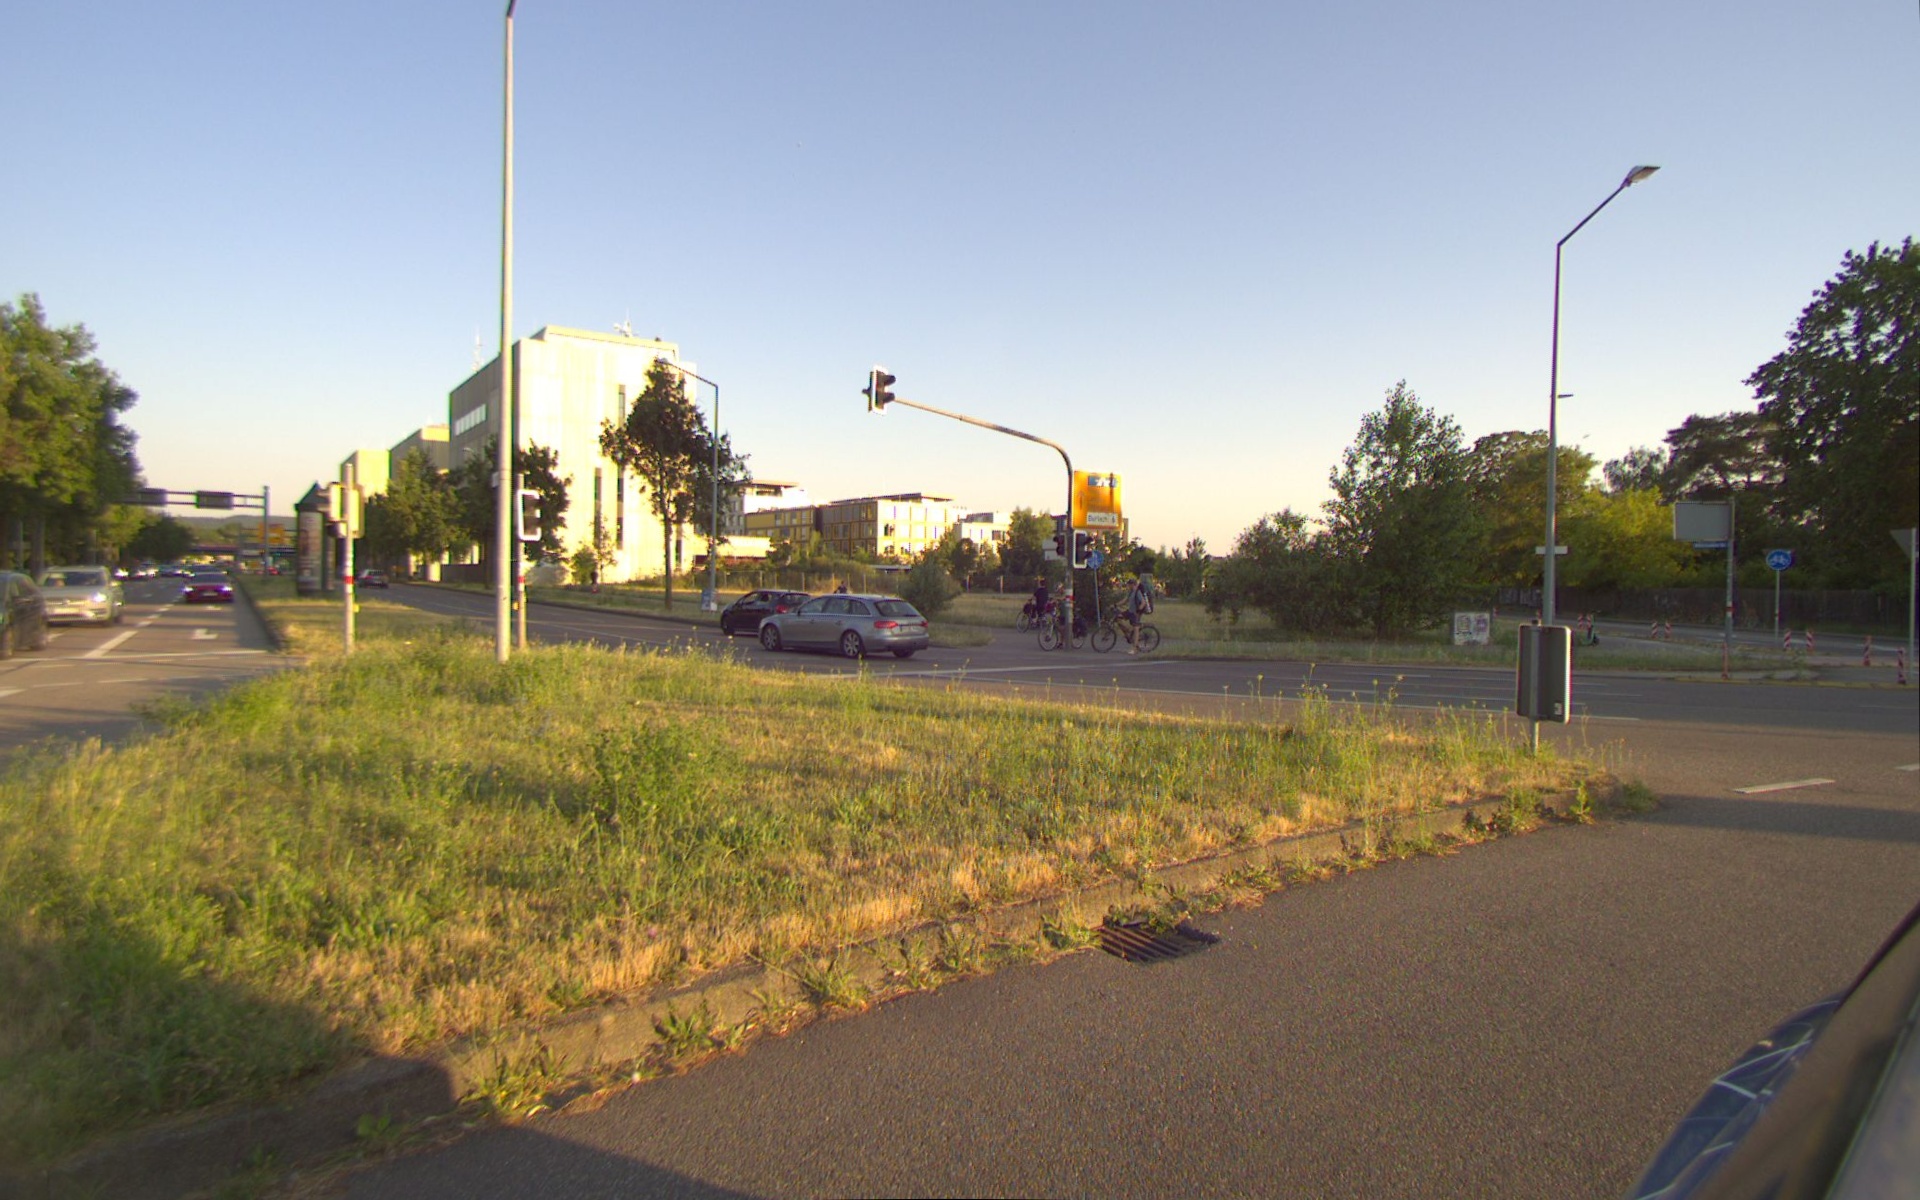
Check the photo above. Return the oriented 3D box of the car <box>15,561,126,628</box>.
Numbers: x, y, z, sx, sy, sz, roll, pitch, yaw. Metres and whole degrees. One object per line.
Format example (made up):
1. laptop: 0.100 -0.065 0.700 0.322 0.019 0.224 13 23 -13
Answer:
1. car: -25.861 -0.208 29.590 1.886 1.776 4.921 -1 1 -35

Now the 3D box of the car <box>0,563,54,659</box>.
1. car: -18.555 0.166 18.889 1.768 1.653 4.458 -1 1 -33

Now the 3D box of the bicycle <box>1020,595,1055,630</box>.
1. bicycle: 2.531 0.398 33.114 0.275 1.102 1.372 1 1 -37

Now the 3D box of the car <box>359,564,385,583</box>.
1. car: -46.076 -2.080 79.342 1.716 1.442 4.140 1 1 -29

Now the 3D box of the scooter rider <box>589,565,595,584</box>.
1. scooter rider: -26.506 -1.822 72.882 0.260 1.356 0.406 1 1 -37

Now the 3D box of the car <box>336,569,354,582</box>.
1. car: -77.702 -3.091 127.902 1.718 1.507 4.136 1 1 -35

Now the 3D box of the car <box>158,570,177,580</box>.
1. car: -105.286 -3.343 134.421 1.841 1.325 4.137 -1 2 -36

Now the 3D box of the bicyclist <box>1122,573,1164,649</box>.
1. bicyclist: 4.738 0.258 26.227 0.894 1.921 0.640 -2 2 -40

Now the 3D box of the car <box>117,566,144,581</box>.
1. car: -74.602 -2.369 91.050 1.589 1.325 3.716 -1 2 -36

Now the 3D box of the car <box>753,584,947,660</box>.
1. car: -2.552 0.431 22.923 4.428 1.440 1.777 3 1 39

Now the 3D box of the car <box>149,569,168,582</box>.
1. car: -92.920 -2.842 117.314 1.589 1.537 3.716 -1 2 -36

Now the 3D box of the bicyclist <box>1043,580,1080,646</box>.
1. bicyclist: 2.736 0.328 27.227 0.757 1.723 0.640 -2 3 -40

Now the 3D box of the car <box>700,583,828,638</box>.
1. car: -6.053 0.272 31.005 3.984 1.482 1.776 3 1 41

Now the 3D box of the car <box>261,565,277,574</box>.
1. car: -118.600 -5.264 173.703 1.964 1.489 3.997 1 1 -39

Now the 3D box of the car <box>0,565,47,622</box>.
1. car: -31.133 -0.238 32.634 1.877 1.731 4.942 1 0 -35

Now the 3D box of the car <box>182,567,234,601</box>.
1. car: -35.560 -0.753 47.913 1.810 1.479 4.581 1 0 -35

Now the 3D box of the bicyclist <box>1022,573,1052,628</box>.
1. bicyclist: 2.514 0.005 33.154 0.527 1.765 0.843 1 1 -38

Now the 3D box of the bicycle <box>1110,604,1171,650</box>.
1. bicycle: 4.713 0.692 26.379 1.894 1.098 0.456 -2 2 -40

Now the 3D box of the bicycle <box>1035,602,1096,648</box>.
1. bicycle: 2.860 0.662 27.270 1.894 1.098 0.456 -3 3 -40

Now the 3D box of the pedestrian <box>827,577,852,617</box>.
1. pedestrian: -4.800 -0.126 40.241 0.782 1.569 0.567 0 1 -37

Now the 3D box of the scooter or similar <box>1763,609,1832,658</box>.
1. scooter or similar: 21.175 0.846 25.600 1.356 1.177 0.442 1 1 -2

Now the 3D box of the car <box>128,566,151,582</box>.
1. car: -83.159 -2.626 102.599 1.589 1.537 3.716 -1 2 -36

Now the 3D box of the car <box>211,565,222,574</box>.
1. car: -129.395 -5.321 176.170 1.589 1.471 3.716 -1 2 -36

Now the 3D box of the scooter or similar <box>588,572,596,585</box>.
1. scooter or similar: -26.515 -1.556 72.919 0.242 0.925 1.039 1 1 -37
